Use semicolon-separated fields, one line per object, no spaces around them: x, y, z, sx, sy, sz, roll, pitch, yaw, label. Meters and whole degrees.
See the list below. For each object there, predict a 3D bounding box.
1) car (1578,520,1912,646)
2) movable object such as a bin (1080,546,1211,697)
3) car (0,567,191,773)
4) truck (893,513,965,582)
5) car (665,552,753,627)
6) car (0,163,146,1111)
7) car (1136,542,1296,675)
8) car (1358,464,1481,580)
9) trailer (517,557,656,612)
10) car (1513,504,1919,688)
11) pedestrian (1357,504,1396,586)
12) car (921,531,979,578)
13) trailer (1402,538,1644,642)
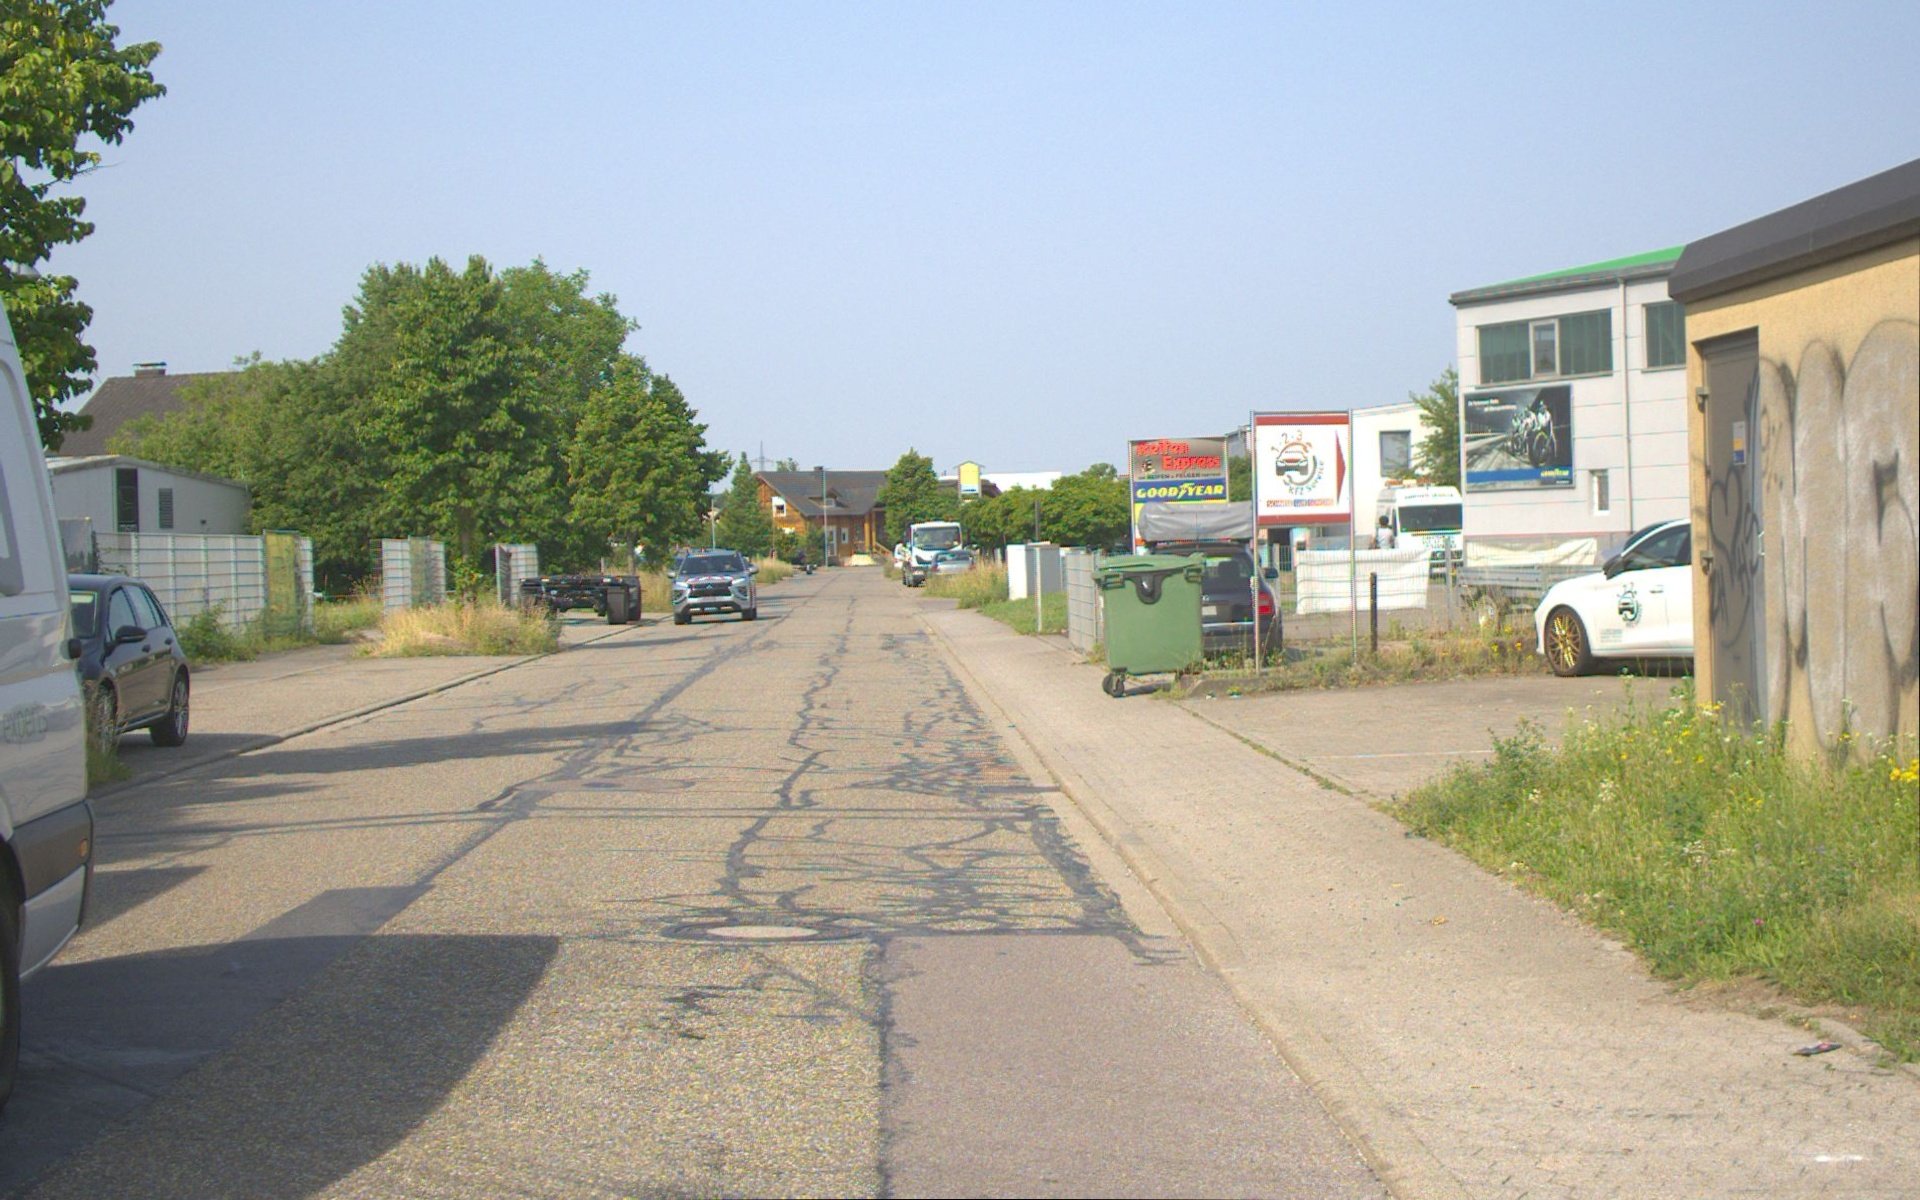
9.775;-0.222;43.141;1.639;1.461;4.462;-2;1;-25;car
1.773;0.189;33.122;1.081;1.348;1.506;-4;1;-1;movable object such as a bin
-7.409;0.509;27.240;1.687;1.465;4.093;-2;1;0;car
-1.324;-2.170;141.058;2.359;2.672;6.512;-2;1;-5;truck
-5.800;-0.273;79.812;1.811;1.621;4.250;-2;1;-2;car
-3.535;0.152;7.291;1.993;2.538;6.990;-2;1;-1;car
2.862;0.052;39.035;1.674;1.364;4.393;-2;1;3;car
11.280;-1.908;84.781;1.974;2.696;5.881;-2;1;-2;car
-8.728;-0.402;81.279;2.582;1.180;9.364;0;1;-2;trailer
6.766;-0.060;29.975;1.687;1.461;4.263;-2;1;-25;car
8.433;-1.109;69.647;0.703;1.634;0.749;-1;1;10;pedestrian
-0.361;-1.566;117.310;1.794;1.512;4.424;-2;1;-2;car
6.984;-0.144;42.841;1.490;1.244;2.978;-1;1;-27;trailer
